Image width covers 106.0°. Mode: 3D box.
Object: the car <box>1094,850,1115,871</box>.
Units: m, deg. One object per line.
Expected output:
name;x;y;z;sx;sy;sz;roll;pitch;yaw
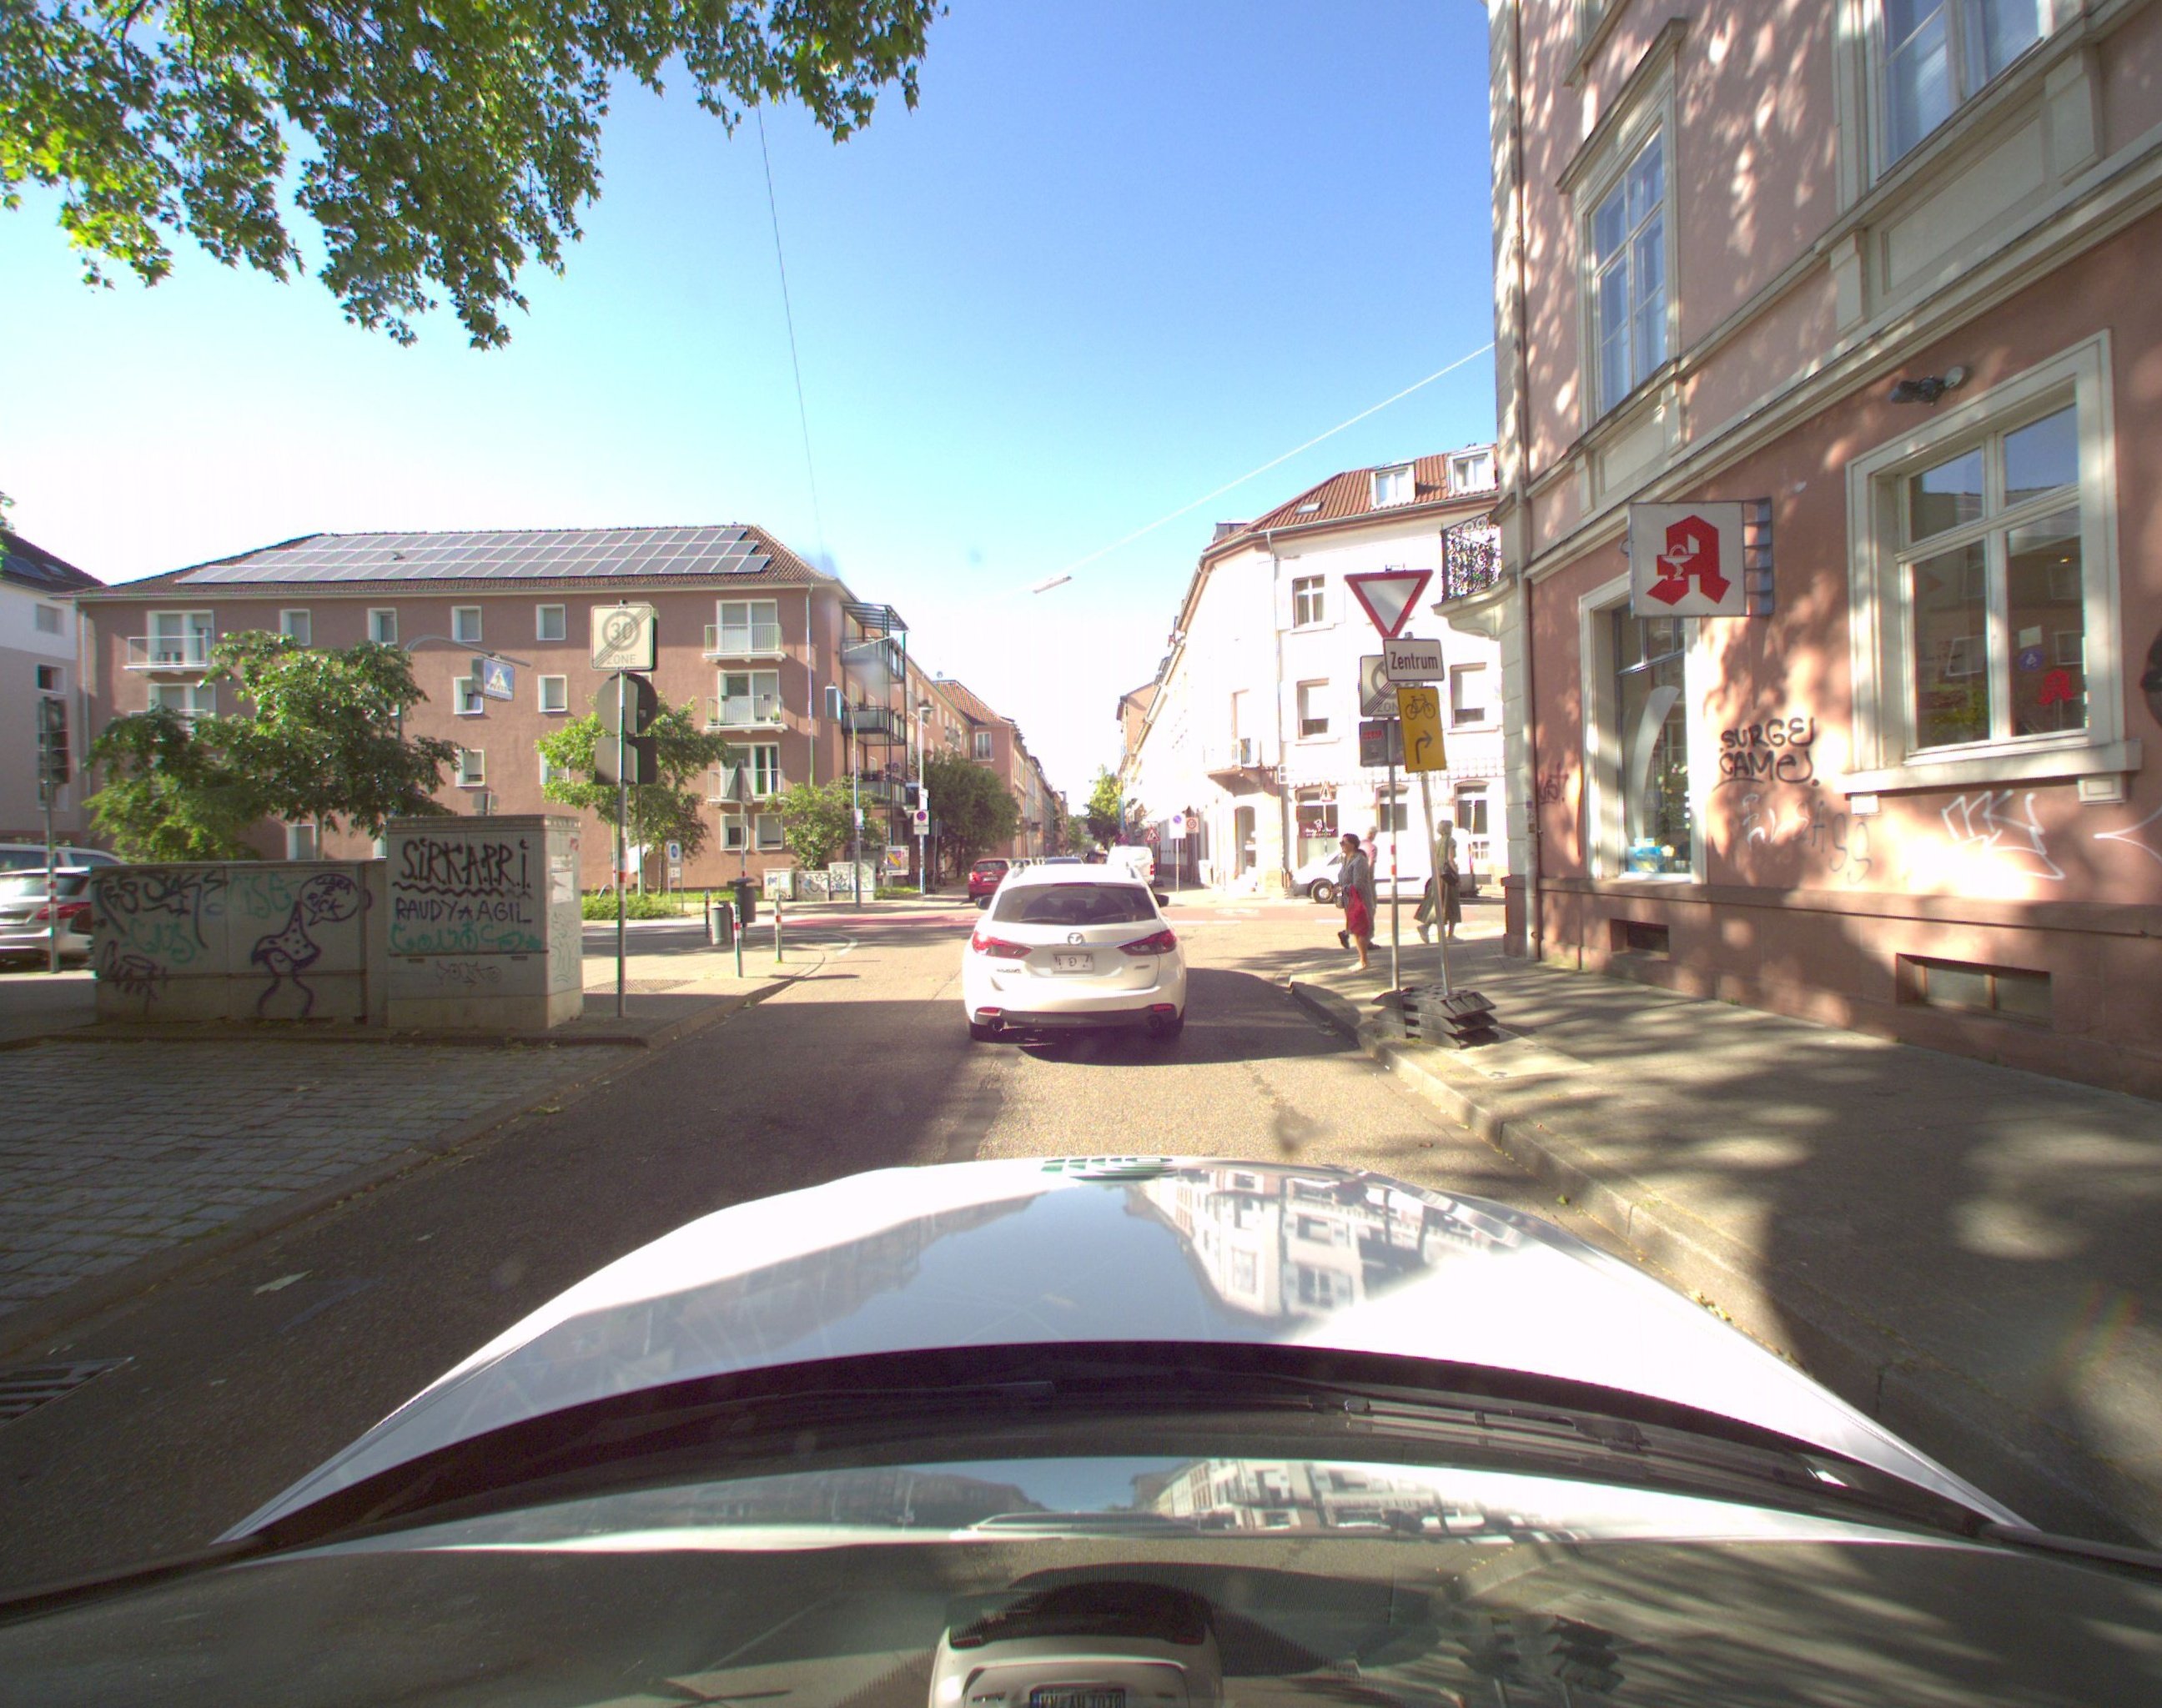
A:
car;2.192;0.589;75.217;1.887;1.859;3.996;-1;0;2

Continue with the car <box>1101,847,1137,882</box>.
car;2.129;0.585;46.435;1.887;1.859;3.996;-1;0;2

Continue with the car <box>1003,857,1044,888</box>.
car;-2.901;0.923;41.753;1.647;1.500;3.764;-1;0;2

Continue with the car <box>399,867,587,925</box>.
car;-16.959;1.188;23.629;4.128;1.454;1.746;-2;0;0

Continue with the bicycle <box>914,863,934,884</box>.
bicycle;-8.089;0.991;41.967;1.201;1.071;0.255;-2;0;40

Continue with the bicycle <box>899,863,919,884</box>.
bicycle;-8.718;1.001;41.182;1.201;1.035;0.293;-2;0;40

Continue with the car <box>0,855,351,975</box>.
car;-14.795;0.857;13.343;1.747;1.612;4.303;-2;0;0

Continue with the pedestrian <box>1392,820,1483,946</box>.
pedestrian;5.032;0.412;11.534;0.833;1.667;0.626;-5;-4;1

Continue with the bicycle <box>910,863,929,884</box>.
bicycle;-8.291;1.000;41.725;1.201;1.071;0.255;-2;0;40

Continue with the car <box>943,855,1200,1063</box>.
car;-0.010;0.763;7.873;1.824;1.457;3.963;-1;0;2

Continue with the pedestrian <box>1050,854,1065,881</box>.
pedestrian;-1.450;0.816;49.358;0.733;1.614;0.813;-2;-1;-11

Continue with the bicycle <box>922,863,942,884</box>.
bicycle;-7.714;1.016;42.103;1.204;1.071;0.255;-2;0;40

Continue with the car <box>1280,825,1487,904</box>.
car;8.114;0.312;22.012;4.964;1.946;2.062;-1;0;23

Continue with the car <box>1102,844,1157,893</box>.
car;1.954;0.577;33.975;1.889;1.859;5.011;1;0;-1

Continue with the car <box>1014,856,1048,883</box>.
car;-2.907;0.876;48.123;1.647;1.500;3.764;-1;0;2

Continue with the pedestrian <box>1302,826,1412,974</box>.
pedestrian;3.199;0.522;9.534;0.841;1.573;0.846;-7;-1;1

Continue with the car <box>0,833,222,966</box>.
car;-17.358;0.738;13.156;1.947;2.006;4.742;-2;-2;-1

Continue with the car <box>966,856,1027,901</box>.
car;-3.095;0.857;30.413;1.678;1.500;3.808;-3;0;2

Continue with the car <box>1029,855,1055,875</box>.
car;-2.955;0.825;62.761;1.647;1.500;3.764;-1;0;2

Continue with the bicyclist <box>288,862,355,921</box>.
bicyclist;-20.236;0.990;21.710;1.038;1.519;0.739;-2;0;1

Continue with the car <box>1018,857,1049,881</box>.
car;-3.029;0.943;52.579;1.647;1.500;3.764;-1;0;2

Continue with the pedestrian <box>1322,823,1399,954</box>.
pedestrian;3.980;0.480;11.656;0.747;1.764;0.831;-3;-1;1

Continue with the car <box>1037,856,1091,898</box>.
car;-0.557;0.782;29.997;1.754;1.410;4.329;-1;0;2

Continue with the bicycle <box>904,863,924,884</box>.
bicycle;-8.500;0.983;41.468;1.201;1.072;0.268;-2;0;40

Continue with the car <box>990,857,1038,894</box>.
car;-2.920;0.909;36.395;1.647;1.500;4.081;-1;0;2
